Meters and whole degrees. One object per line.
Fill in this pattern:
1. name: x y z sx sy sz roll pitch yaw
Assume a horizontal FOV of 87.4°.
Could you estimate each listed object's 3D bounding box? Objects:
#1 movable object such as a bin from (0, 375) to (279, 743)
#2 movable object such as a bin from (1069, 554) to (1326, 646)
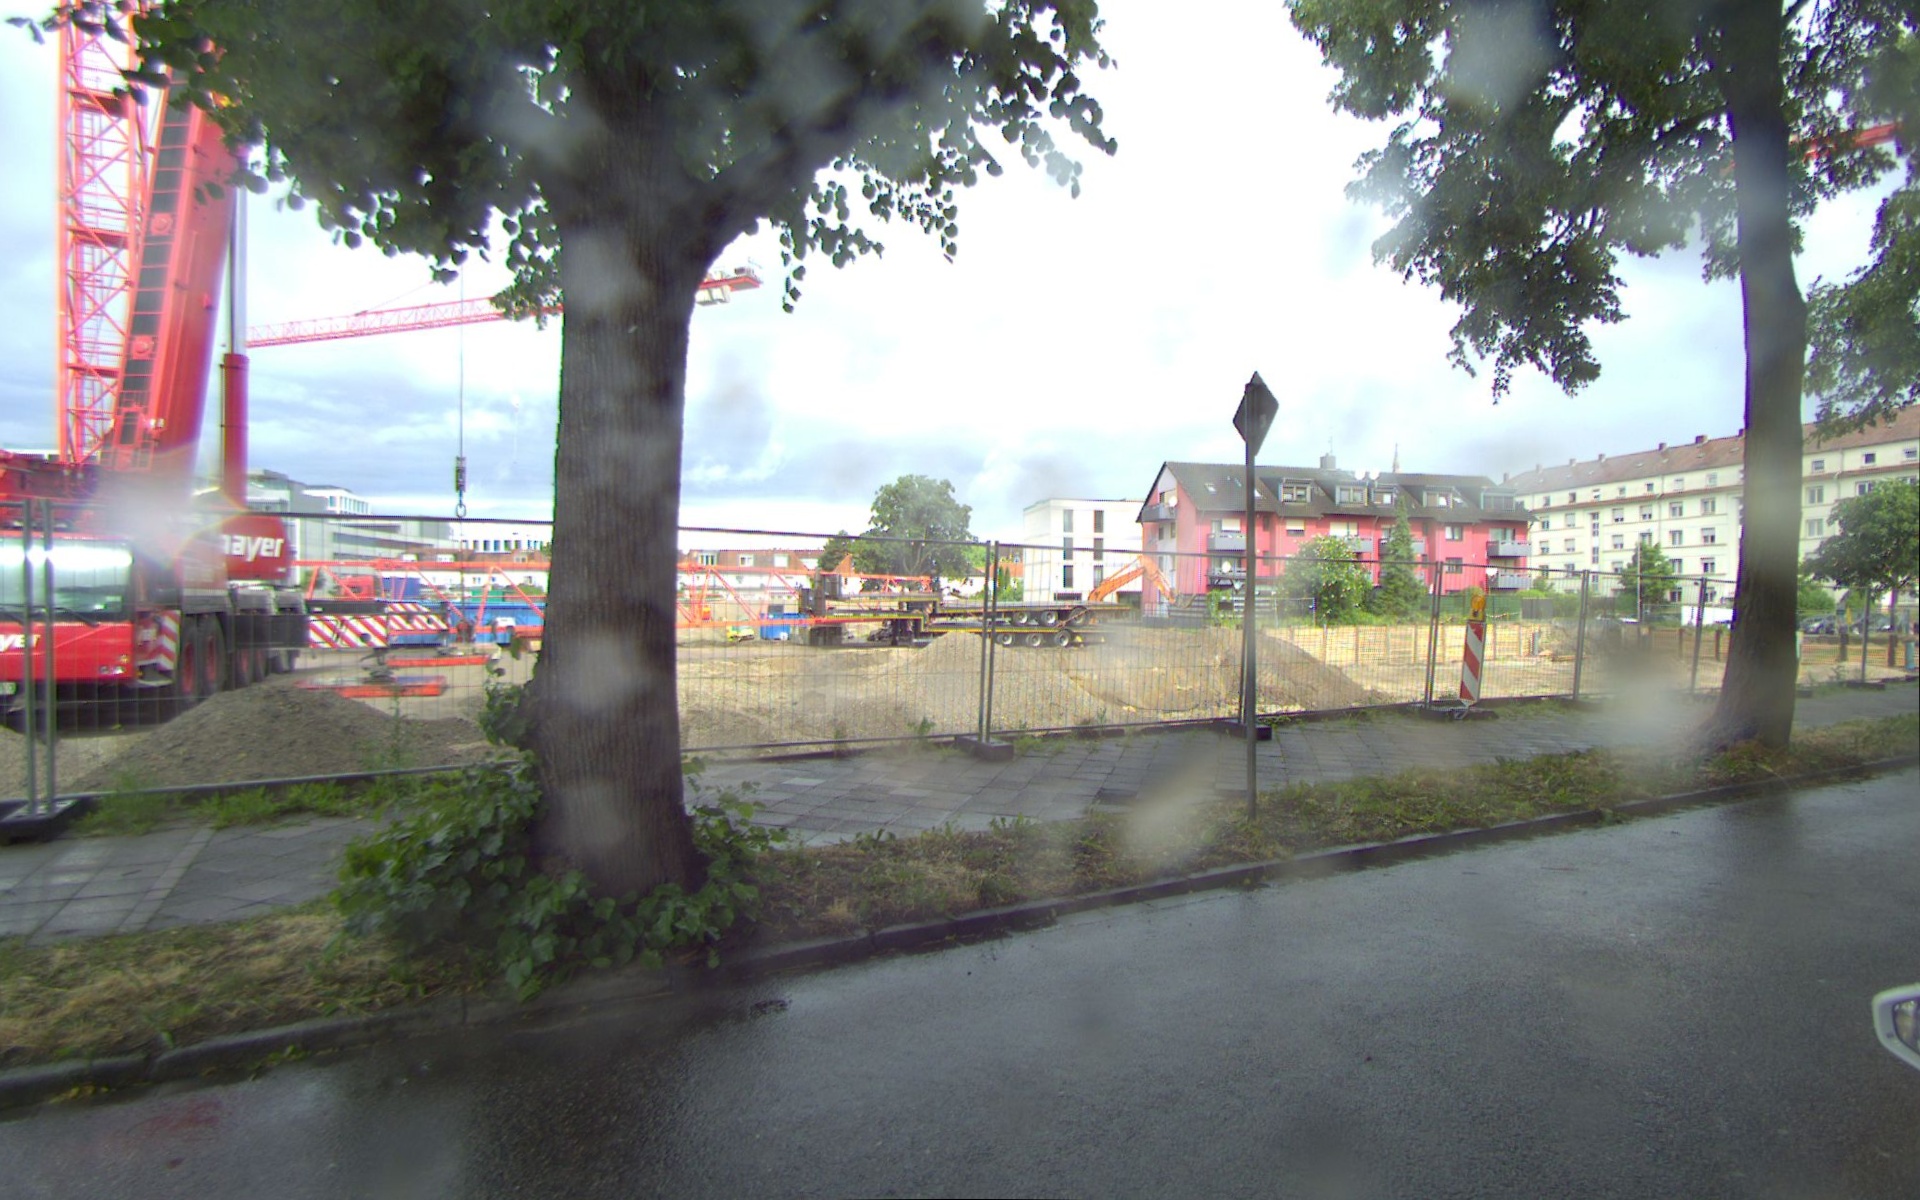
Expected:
1. movable object such as a bin: -13.343 -0.487 15.607 3.323 4.170 9.775 0 1 -27
2. movable object such as a bin: 16.442 -0.040 71.002 16.429 6.125 6.885 0 1 -6
